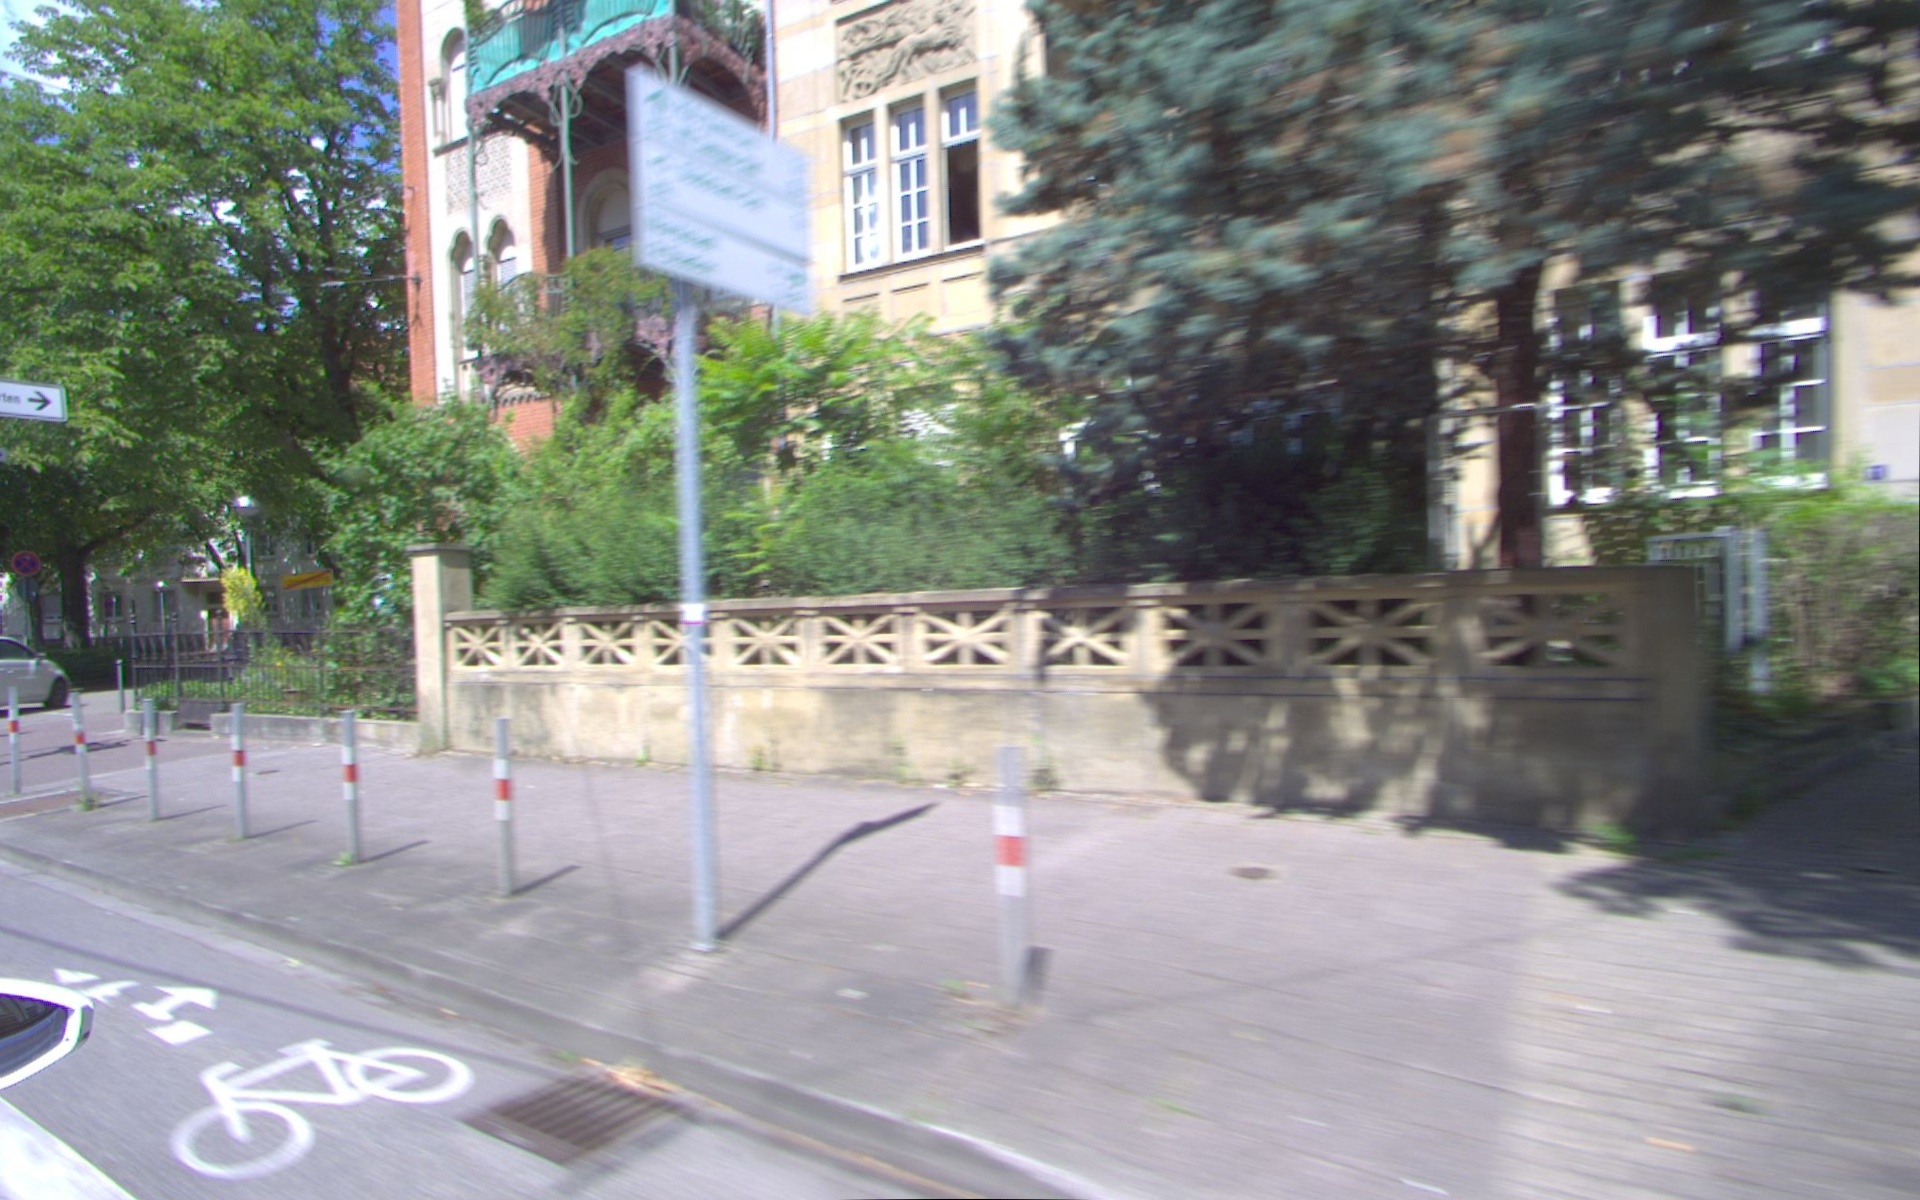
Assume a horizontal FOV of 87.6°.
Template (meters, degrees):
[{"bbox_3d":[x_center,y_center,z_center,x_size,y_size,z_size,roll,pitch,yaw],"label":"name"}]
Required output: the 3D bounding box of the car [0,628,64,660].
[{"bbox_3d":[-43.708,2.043,45.498,4.255,1.346,1.792,-2,0,-4],"label":"car"}]

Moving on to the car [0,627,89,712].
[{"bbox_3d":[-18.374,1.302,18.669,1.659,1.504,3.680,-2,0,-14],"label":"car"}]
